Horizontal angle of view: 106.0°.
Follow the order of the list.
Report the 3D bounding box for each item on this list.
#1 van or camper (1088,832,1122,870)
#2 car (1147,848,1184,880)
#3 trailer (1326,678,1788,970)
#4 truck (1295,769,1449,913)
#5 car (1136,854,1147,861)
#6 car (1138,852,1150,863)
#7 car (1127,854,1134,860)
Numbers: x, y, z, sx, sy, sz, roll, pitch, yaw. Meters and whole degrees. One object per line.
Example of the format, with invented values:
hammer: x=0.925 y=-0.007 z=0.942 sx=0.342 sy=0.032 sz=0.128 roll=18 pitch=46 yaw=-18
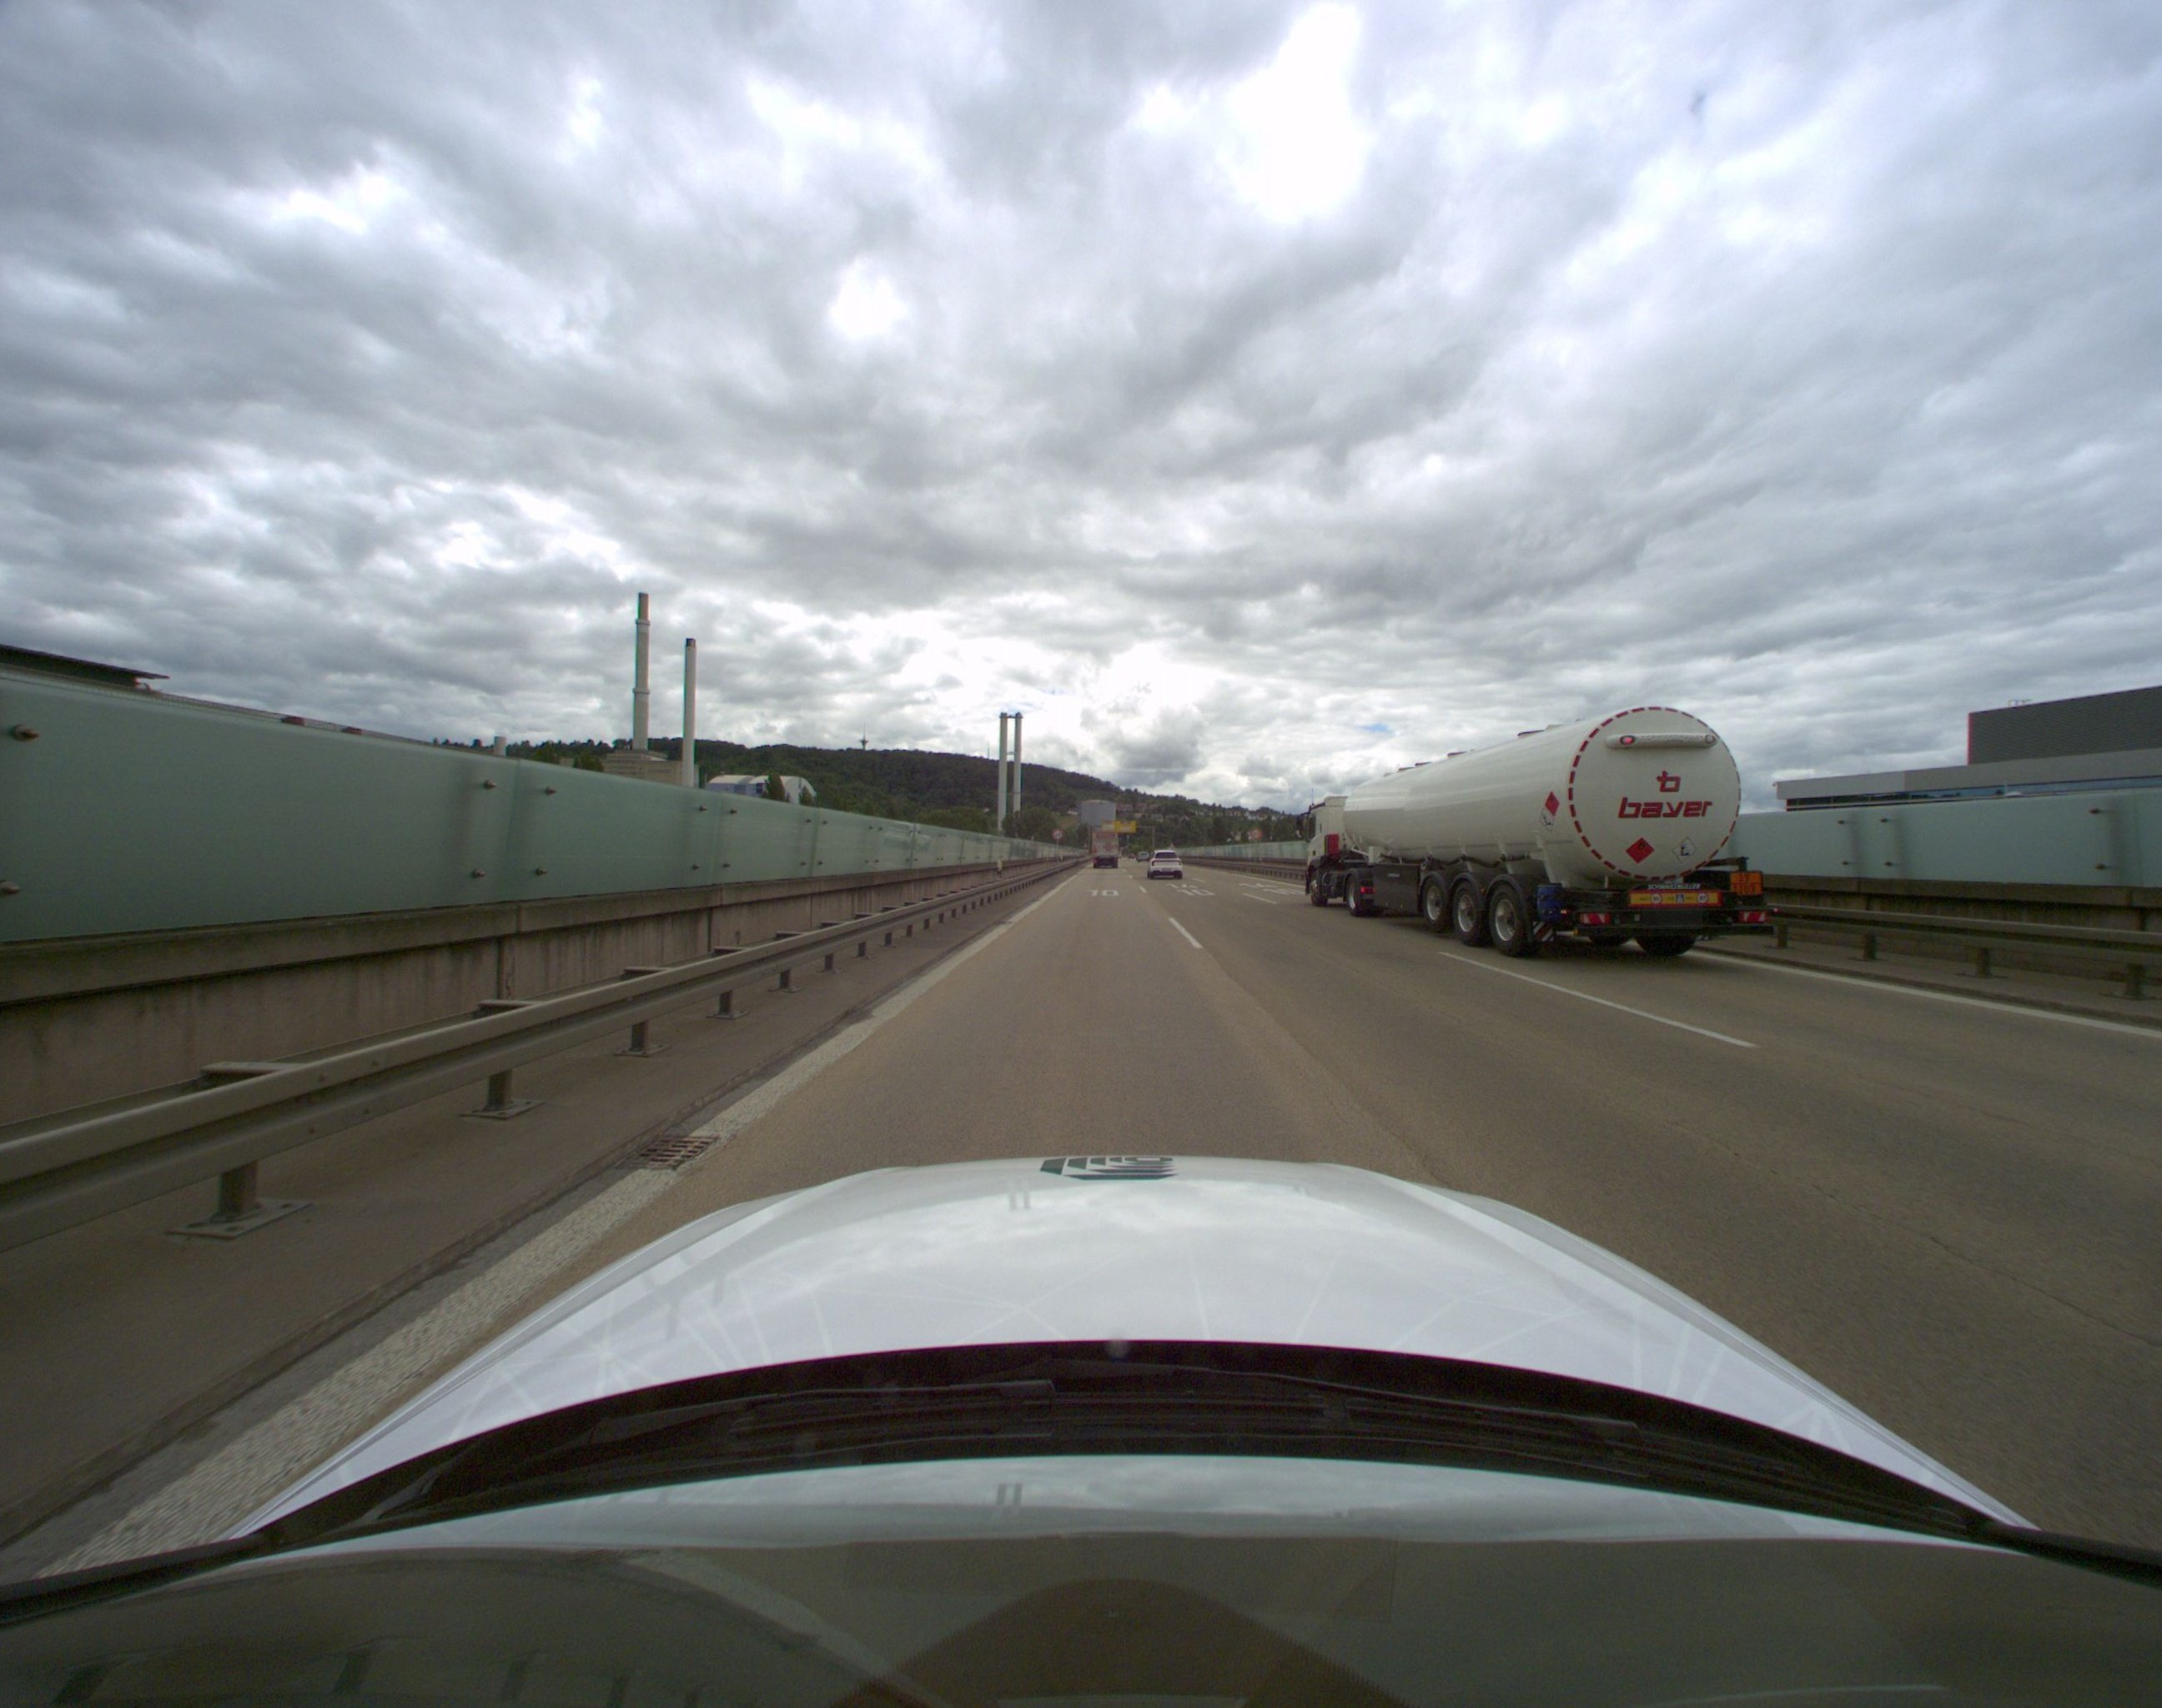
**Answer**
van or camper: x=2.484 y=-0.274 z=81.171 sx=3.109 sy=3.579 sz=8.557 roll=0 pitch=0 yaw=3
car: x=4.901 y=0.560 z=47.736 sx=1.916 sy=1.785 sz=4.116 roll=0 pitch=0 yaw=2
trailer: x=7.472 y=-0.334 z=15.530 sx=2.640 sy=3.543 sz=11.226 roll=0 pitch=0 yaw=2
truck: x=7.748 y=-0.320 z=22.347 sx=2.620 sy=3.514 sz=4.906 roll=0 pitch=0 yaw=2
car: x=11.611 y=0.681 z=156.196 sx=1.915 sy=1.434 sz=4.119 roll=0 pitch=0 yaw=5
car: x=10.106 y=0.498 z=130.745 sx=1.916 sy=1.785 sz=4.116 roll=0 pitch=0 yaw=3
car: x=14.569 y=0.938 z=239.974 sx=1.916 sy=1.785 sz=4.116 roll=0 pitch=0 yaw=2
